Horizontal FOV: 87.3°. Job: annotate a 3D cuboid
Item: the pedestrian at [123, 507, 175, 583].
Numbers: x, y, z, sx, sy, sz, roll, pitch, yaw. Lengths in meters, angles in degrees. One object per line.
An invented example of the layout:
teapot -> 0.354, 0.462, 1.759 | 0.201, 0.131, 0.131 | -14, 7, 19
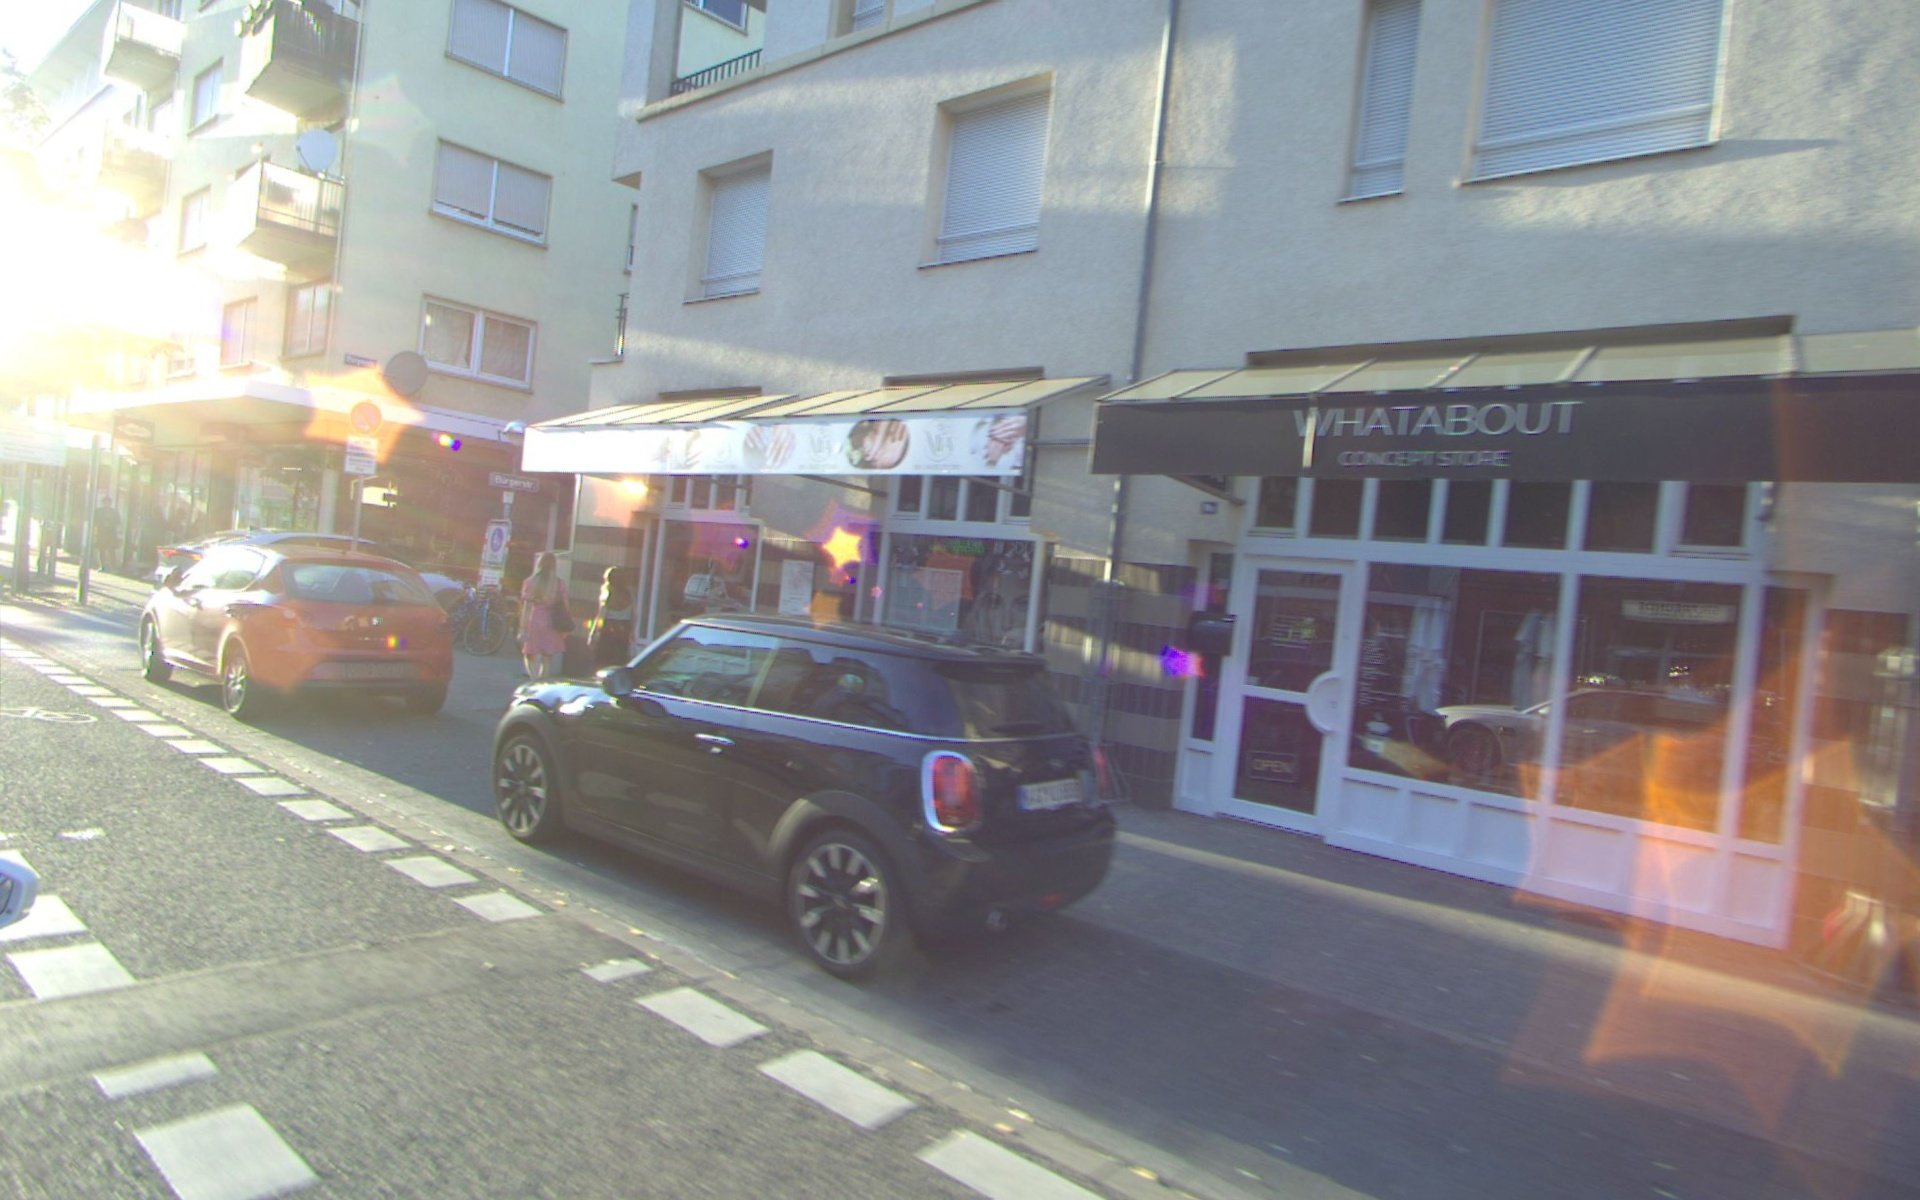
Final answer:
pedestrian -> -19.268, -1.301, 23.910 | 0.765, 1.679, 0.642 | 7, -1, 38

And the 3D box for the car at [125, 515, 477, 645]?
car -> -10.116, -0.226, 15.781 | 1.826, 1.632, 4.173 | 6, 0, 31

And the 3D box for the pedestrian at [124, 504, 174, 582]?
pedestrian -> -19.992, -1.399, 24.798 | 0.518, 1.804, 0.582 | 7, 0, 18

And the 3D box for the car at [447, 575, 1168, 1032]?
car -> -0.989, 0.778, 5.515 | 3.691, 1.440, 1.721 | 6, 1, 37

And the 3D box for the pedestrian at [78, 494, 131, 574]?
pedestrian -> -21.046, -1.628, 24.753 | 0.640, 1.828, 0.708 | 7, -1, 37

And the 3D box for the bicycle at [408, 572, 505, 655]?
bicycle -> -7.599, 0.187, 15.147 | 1.815, 1.063, 0.391 | 6, 1, 34

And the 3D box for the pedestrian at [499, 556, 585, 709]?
pedestrian -> -4.453, 0.351, 10.712 | 0.547, 1.549, 0.539 | 7, 1, 42

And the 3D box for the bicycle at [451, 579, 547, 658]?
bicycle -> -7.210, 0.274, 15.696 | 1.815, 1.046, 0.391 | 6, 1, 34

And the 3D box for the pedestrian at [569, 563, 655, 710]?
pedestrian -> -3.893, 0.408, 11.255 | 0.642, 1.549, 0.539 | 7, 1, 43

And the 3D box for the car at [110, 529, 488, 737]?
car -> -6.447, 0.221, 9.663 | 3.970, 1.440, 1.721 | 6, 1, 37
